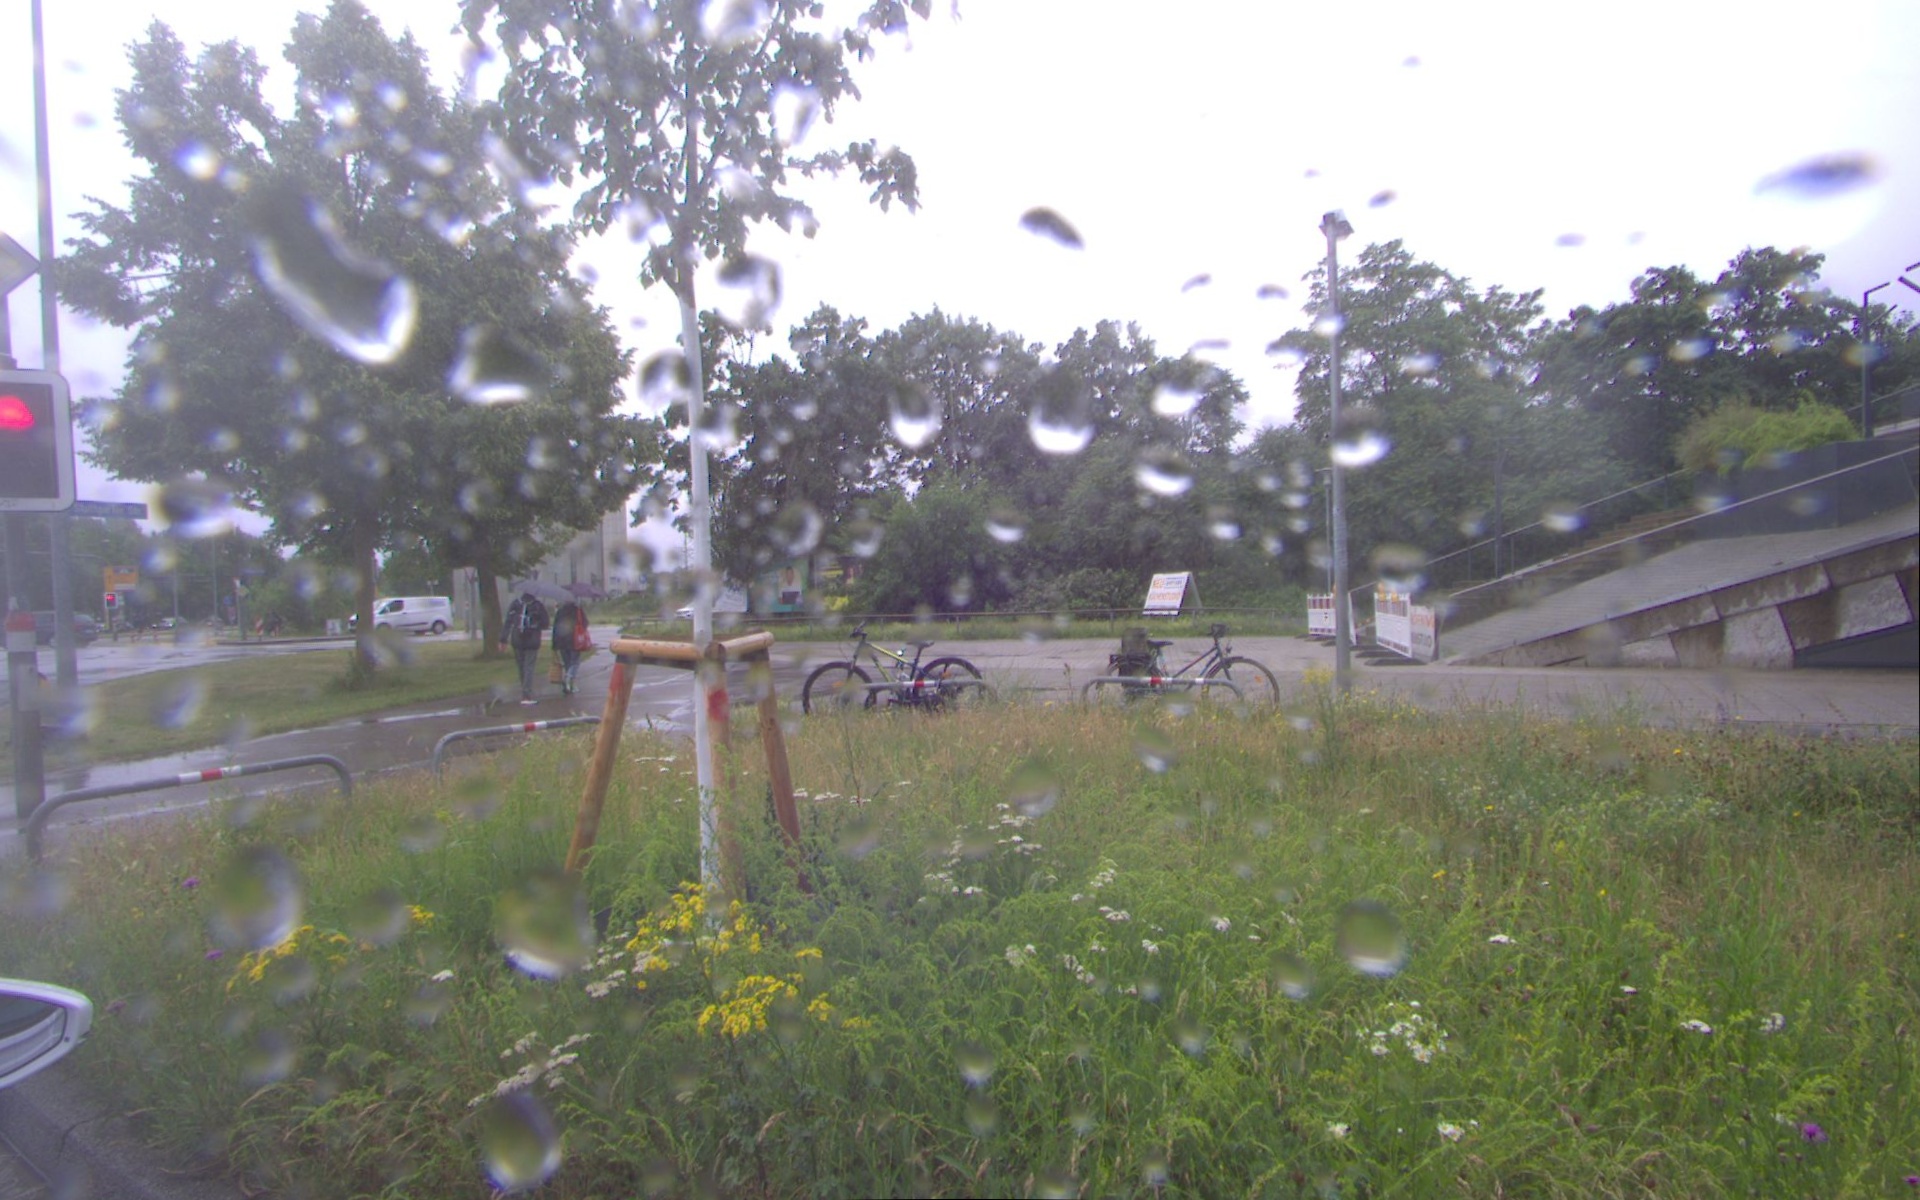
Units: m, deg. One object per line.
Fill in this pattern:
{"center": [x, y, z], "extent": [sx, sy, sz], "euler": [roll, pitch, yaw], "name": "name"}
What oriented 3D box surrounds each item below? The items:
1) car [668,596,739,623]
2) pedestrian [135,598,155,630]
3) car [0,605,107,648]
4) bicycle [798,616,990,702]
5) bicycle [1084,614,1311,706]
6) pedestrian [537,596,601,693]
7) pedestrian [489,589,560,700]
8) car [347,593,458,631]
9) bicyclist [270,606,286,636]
{"center": [-18.288, 0.664, 71.506], "extent": [1.974, 1.876, 4.743], "euler": [0, 0, 36], "name": "car"}
{"center": [-49.367, 0.860, 60.678], "extent": [0.660, 1.892, 0.813], "euler": [-2, -2, 40], "name": "pedestrian"}
{"center": [-41.243, 1.179, 44.471], "extent": [4.693, 1.874, 1.997], "euler": [0, -2, -19], "name": "car"}
{"center": [-0.630, 0.569, 9.696], "extent": [1.823, 0.797, 0.380], "euler": [0, -2, -2], "name": "bicycle"}
{"center": [2.155, 0.548, 9.185], "extent": [1.972, 0.796, 0.454], "euler": [-1, -2, 16], "name": "bicycle"}
{"center": [-6.173, 0.687, 15.819], "extent": [0.564, 1.480, 0.679], "euler": [-1, 1, 28], "name": "pedestrian"}
{"center": [-6.201, 0.627, 14.273], "extent": [0.730, 1.542, 0.620], "euler": [-1, -1, 31], "name": "pedestrian"}
{"center": [-29.171, 0.682, 52.531], "extent": [1.972, 1.874, 4.751], "euler": [-2, -3, 33], "name": "car"}
{"center": [-40.577, 1.272, 59.593], "extent": [0.580, 1.764, 0.496], "euler": [-1, -1, 10], "name": "bicyclist"}
